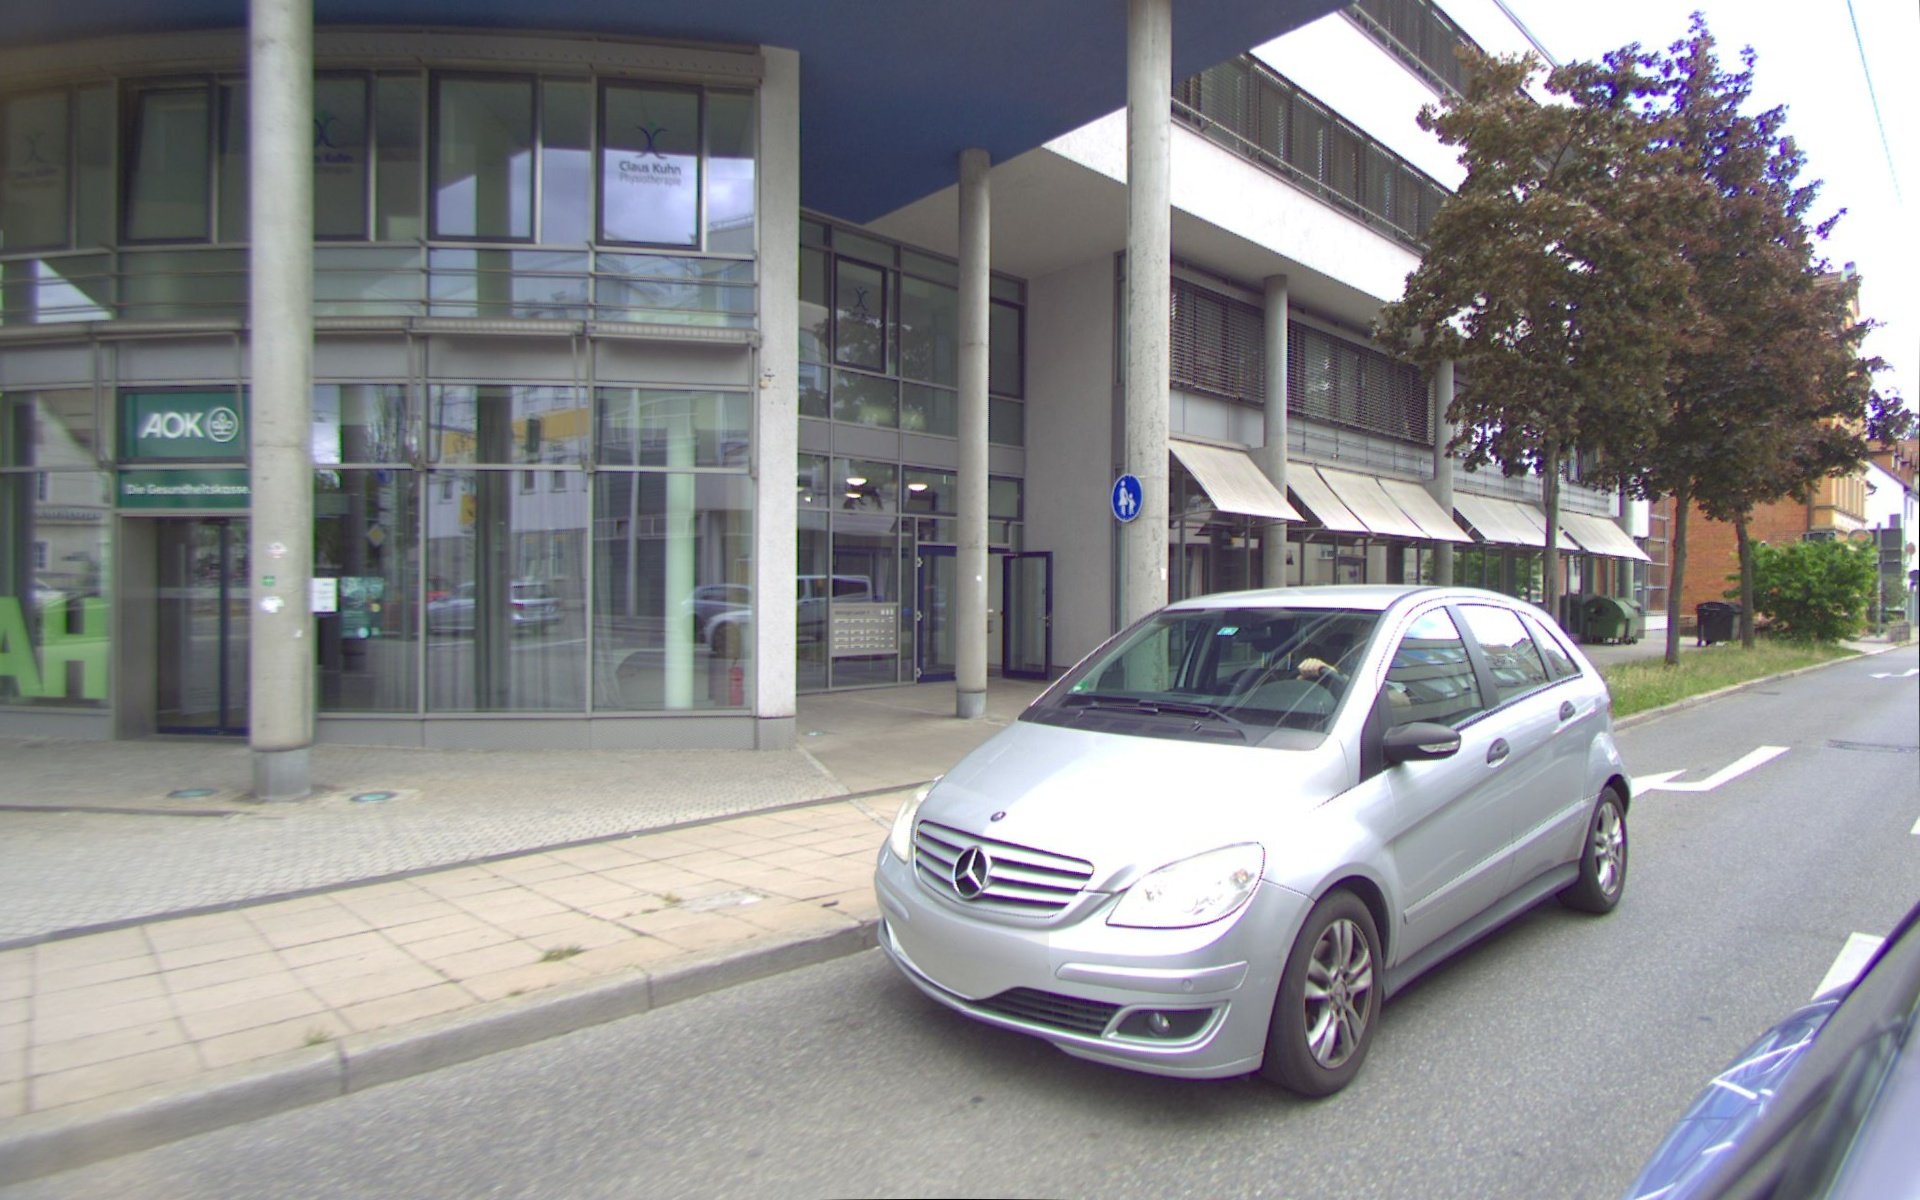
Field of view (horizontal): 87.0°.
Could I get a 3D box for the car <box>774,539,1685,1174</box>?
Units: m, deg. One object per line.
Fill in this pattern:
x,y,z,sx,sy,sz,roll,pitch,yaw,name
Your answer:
1.595,0.652,4.766,4.492,1.566,1.996,0,-2,-42,car

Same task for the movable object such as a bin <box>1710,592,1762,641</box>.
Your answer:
24.880,0.515,32.448,1.311,1.484,1.099,0,2,-44,movable object such as a bin

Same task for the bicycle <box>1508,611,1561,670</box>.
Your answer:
11.428,0.788,20.108,1.994,1.100,0.361,0,-1,-44,bicycle

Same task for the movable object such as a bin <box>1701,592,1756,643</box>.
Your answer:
23.928,0.521,31.491,1.389,1.484,1.128,0,2,-44,movable object such as a bin

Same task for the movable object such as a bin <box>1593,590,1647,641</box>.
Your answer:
20.332,0.457,31.187,1.311,1.484,1.099,0,2,-44,movable object such as a bin

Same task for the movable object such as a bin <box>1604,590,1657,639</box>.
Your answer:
21.287,0.447,32.124,1.311,1.484,1.123,0,2,-44,movable object such as a bin
